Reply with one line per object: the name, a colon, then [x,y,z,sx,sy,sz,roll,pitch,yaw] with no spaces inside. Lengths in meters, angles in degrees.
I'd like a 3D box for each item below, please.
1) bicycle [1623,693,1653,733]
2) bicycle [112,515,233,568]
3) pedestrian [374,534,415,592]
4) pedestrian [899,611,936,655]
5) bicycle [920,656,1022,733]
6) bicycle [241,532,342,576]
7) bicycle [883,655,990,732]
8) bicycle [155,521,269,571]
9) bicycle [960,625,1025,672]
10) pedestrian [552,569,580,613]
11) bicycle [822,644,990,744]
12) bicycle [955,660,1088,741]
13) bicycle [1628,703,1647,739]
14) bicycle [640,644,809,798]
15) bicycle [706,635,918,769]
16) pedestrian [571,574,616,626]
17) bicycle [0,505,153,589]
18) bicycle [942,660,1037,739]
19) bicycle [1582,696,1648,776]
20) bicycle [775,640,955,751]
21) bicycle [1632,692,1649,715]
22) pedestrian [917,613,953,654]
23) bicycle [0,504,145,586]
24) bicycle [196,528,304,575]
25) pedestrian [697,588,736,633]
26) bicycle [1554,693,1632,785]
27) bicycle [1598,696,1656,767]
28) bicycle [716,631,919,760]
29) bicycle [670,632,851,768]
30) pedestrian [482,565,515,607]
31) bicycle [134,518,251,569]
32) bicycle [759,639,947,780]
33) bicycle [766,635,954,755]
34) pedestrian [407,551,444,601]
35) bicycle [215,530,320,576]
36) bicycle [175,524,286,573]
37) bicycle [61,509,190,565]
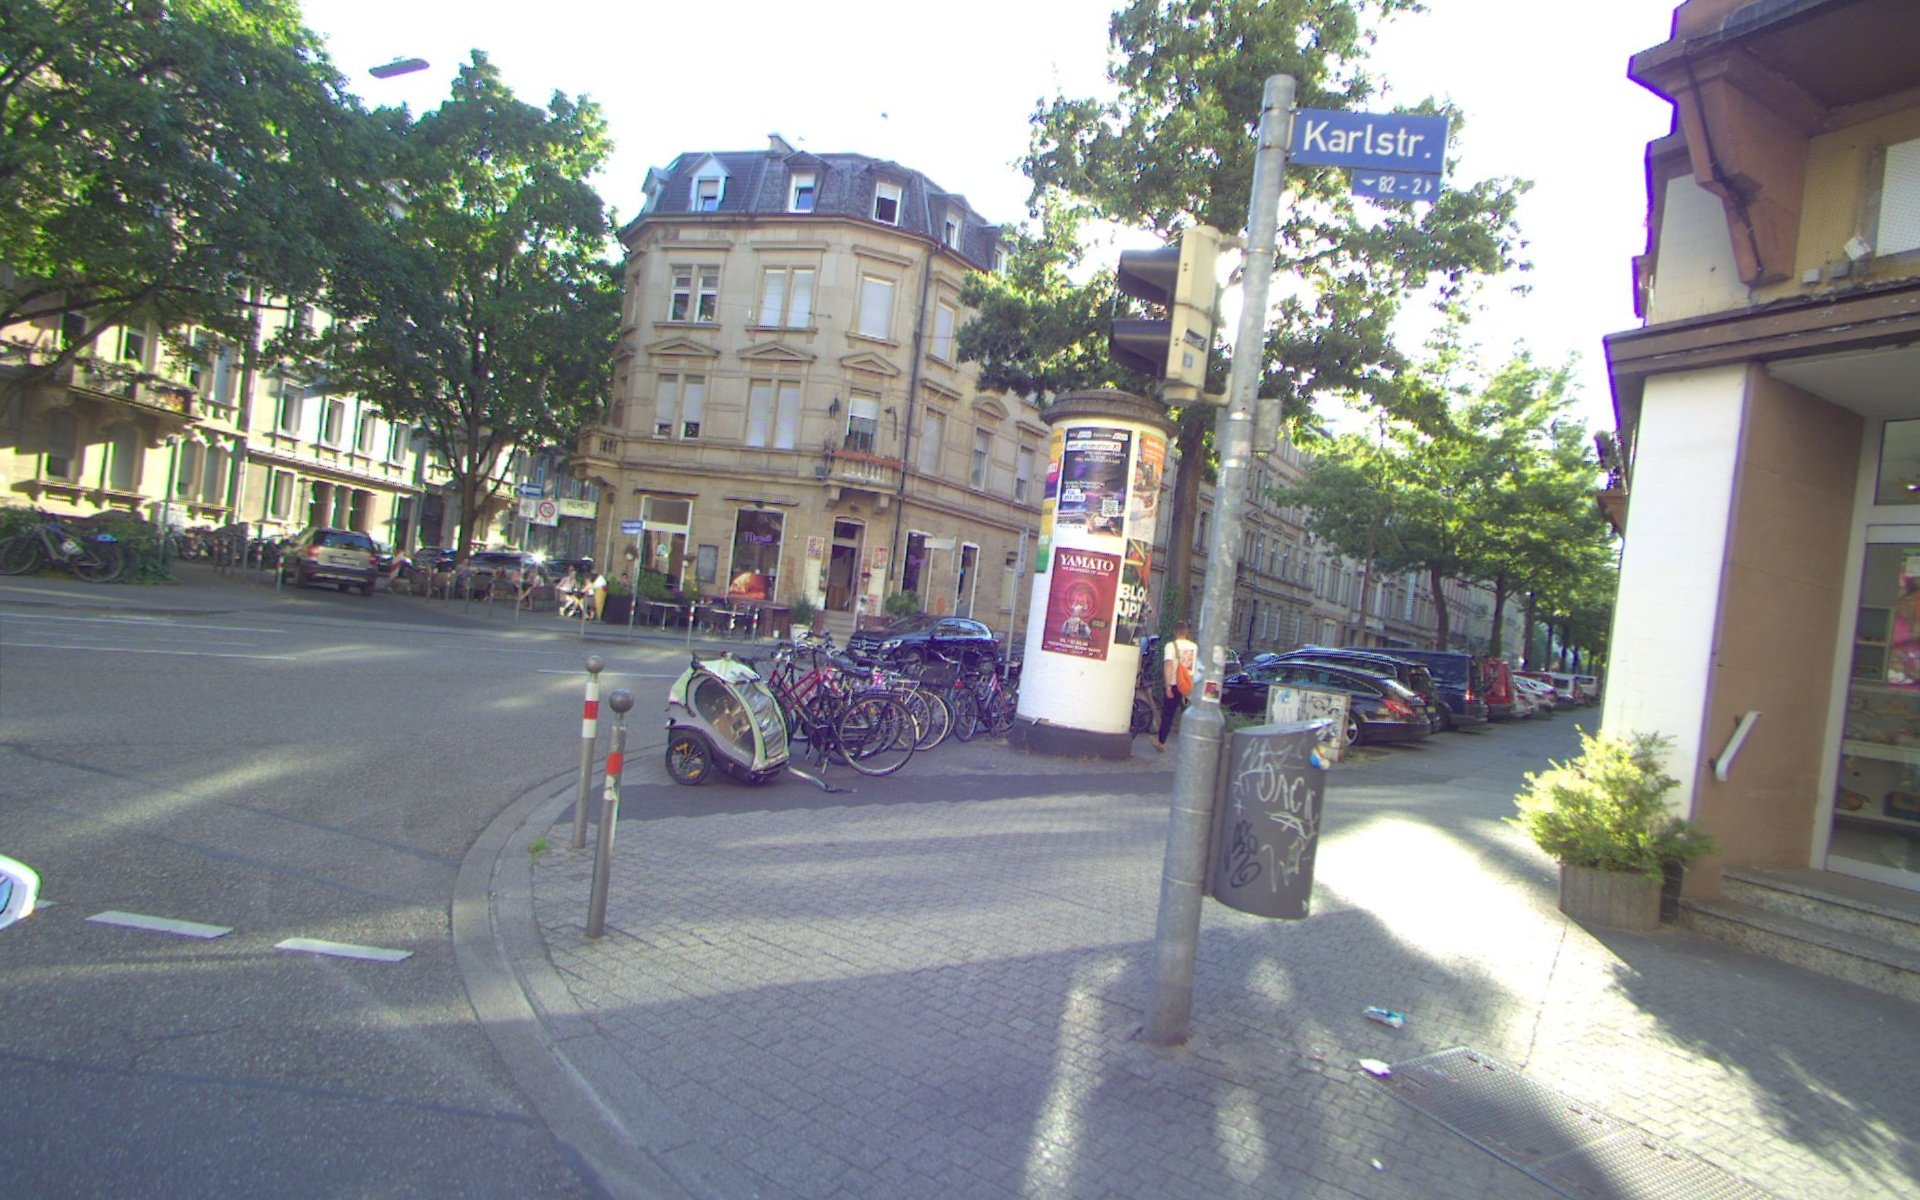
bicycle: [21.859,3.621,32.400,0.662,1.185,2.585,4,-2,36]
bicycle: [-24.365,-1.806,31.135,3.078,1.195,0.752,7,0,1]
pedestrian: [-17.362,-1.124,30.875,0.657,1.690,0.765,5,0,34]
pedestrian: [-1.319,1.030,31.242,0.716,1.274,0.755,7,0,34]
bicycle: [0.168,1.268,13.313,0.350,0.938,1.517,3,-3,43]
bicycle: [-24.172,-1.660,36.400,3.078,1.195,0.752,7,0,1]
bicycle: [-0.317,1.290,13.856,1.394,0.938,0.353,6,-2,-25]
bicycle: [-24.330,-1.739,32.757,3.078,1.195,0.752,7,0,1]
bicycle: [0.958,1.441,30.001,1.845,1.142,0.526,8,1,39]
pedestrian: [-12.119,-0.281,30.941,0.474,1.264,0.509,7,1,34]
bicycle: [-0.648,1.121,12.187,1.899,0.999,0.497,4,-2,14]
bicycle: [0.836,1.390,14.183,1.907,0.938,0.353,3,-2,36]
bicycle: [19.965,3.557,29.637,0.400,0.974,1.862,3,-2,35]
bicycle: [-1.861,0.929,8.030,0.980,1.039,0.739,7,0,14]
bicycle: [-1.403,0.975,9.698,1.901,1.106,0.425,5,-2,-3]
pedestrian: [-10.170,0.001,27.913,0.732,1.305,0.742,7,0,26]
bicycle: [-16.048,-0.965,17.545,0.540,1.210,2.947,7,0,39]
bicycle: [0.408,1.289,12.978,0.349,0.938,1.520,4,-3,37]
bicycle: [11.054,2.262,16.942,0.663,1.185,2.583,4,-2,38]
bicycle: [-1.048,1.064,11.359,1.900,1.064,0.503,5,-2,-1]
bicycle: [39.264,5.977,58.045,0.662,1.185,2.585,4,-2,36]
pedestrian: [-0.812,1.075,32.294,0.716,1.229,0.755,7,0,34]
bicycle: [-16.495,-1.019,17.922,0.540,1.210,2.947,7,0,39]
bicycle: [-24.260,-1.663,34.412,3.078,1.195,0.752,7,0,1]
pedestrian: [-7.192,0.321,29.761,0.714,1.229,0.757,7,0,17]
bicycle: [9.414,2.030,14.917,0.663,1.185,2.583,4,-2,38]
bicycle: [12.598,2.452,18.965,0.663,1.185,2.583,4,-2,38]
bicycle: [-1.412,0.953,10.121,1.901,1.106,0.425,5,-2,-3]
bicycle: [-1.780,0.905,9.047,1.458,1.106,0.423,6,-2,-25]
pedestrian: [-14.425,-0.441,31.445,0.673,1.230,0.660,5,0,-44]
bicycle: [-24.337,-1.774,31.925,3.078,1.195,0.752,7,0,1]
bicycle: [-0.938,0.963,8.827,1.457,1.106,0.571,6,-2,-23]
bicycle: [-1.060,1.021,10.871,1.900,1.106,0.425,5,-2,-1]
pedestrian: [-16.281,-0.731,30.650,0.761,1.429,0.661,5,0,-40]
bicycle: [-24.252,-1.628,35.258,3.078,1.195,0.752,7,0,1]
bicycle: [-24.328,-1.707,33.569,3.078,1.195,0.752,7,0,1]
bicycle: [-24.404,-1.836,29.440,3.078,1.195,0.752,7,0,1]
